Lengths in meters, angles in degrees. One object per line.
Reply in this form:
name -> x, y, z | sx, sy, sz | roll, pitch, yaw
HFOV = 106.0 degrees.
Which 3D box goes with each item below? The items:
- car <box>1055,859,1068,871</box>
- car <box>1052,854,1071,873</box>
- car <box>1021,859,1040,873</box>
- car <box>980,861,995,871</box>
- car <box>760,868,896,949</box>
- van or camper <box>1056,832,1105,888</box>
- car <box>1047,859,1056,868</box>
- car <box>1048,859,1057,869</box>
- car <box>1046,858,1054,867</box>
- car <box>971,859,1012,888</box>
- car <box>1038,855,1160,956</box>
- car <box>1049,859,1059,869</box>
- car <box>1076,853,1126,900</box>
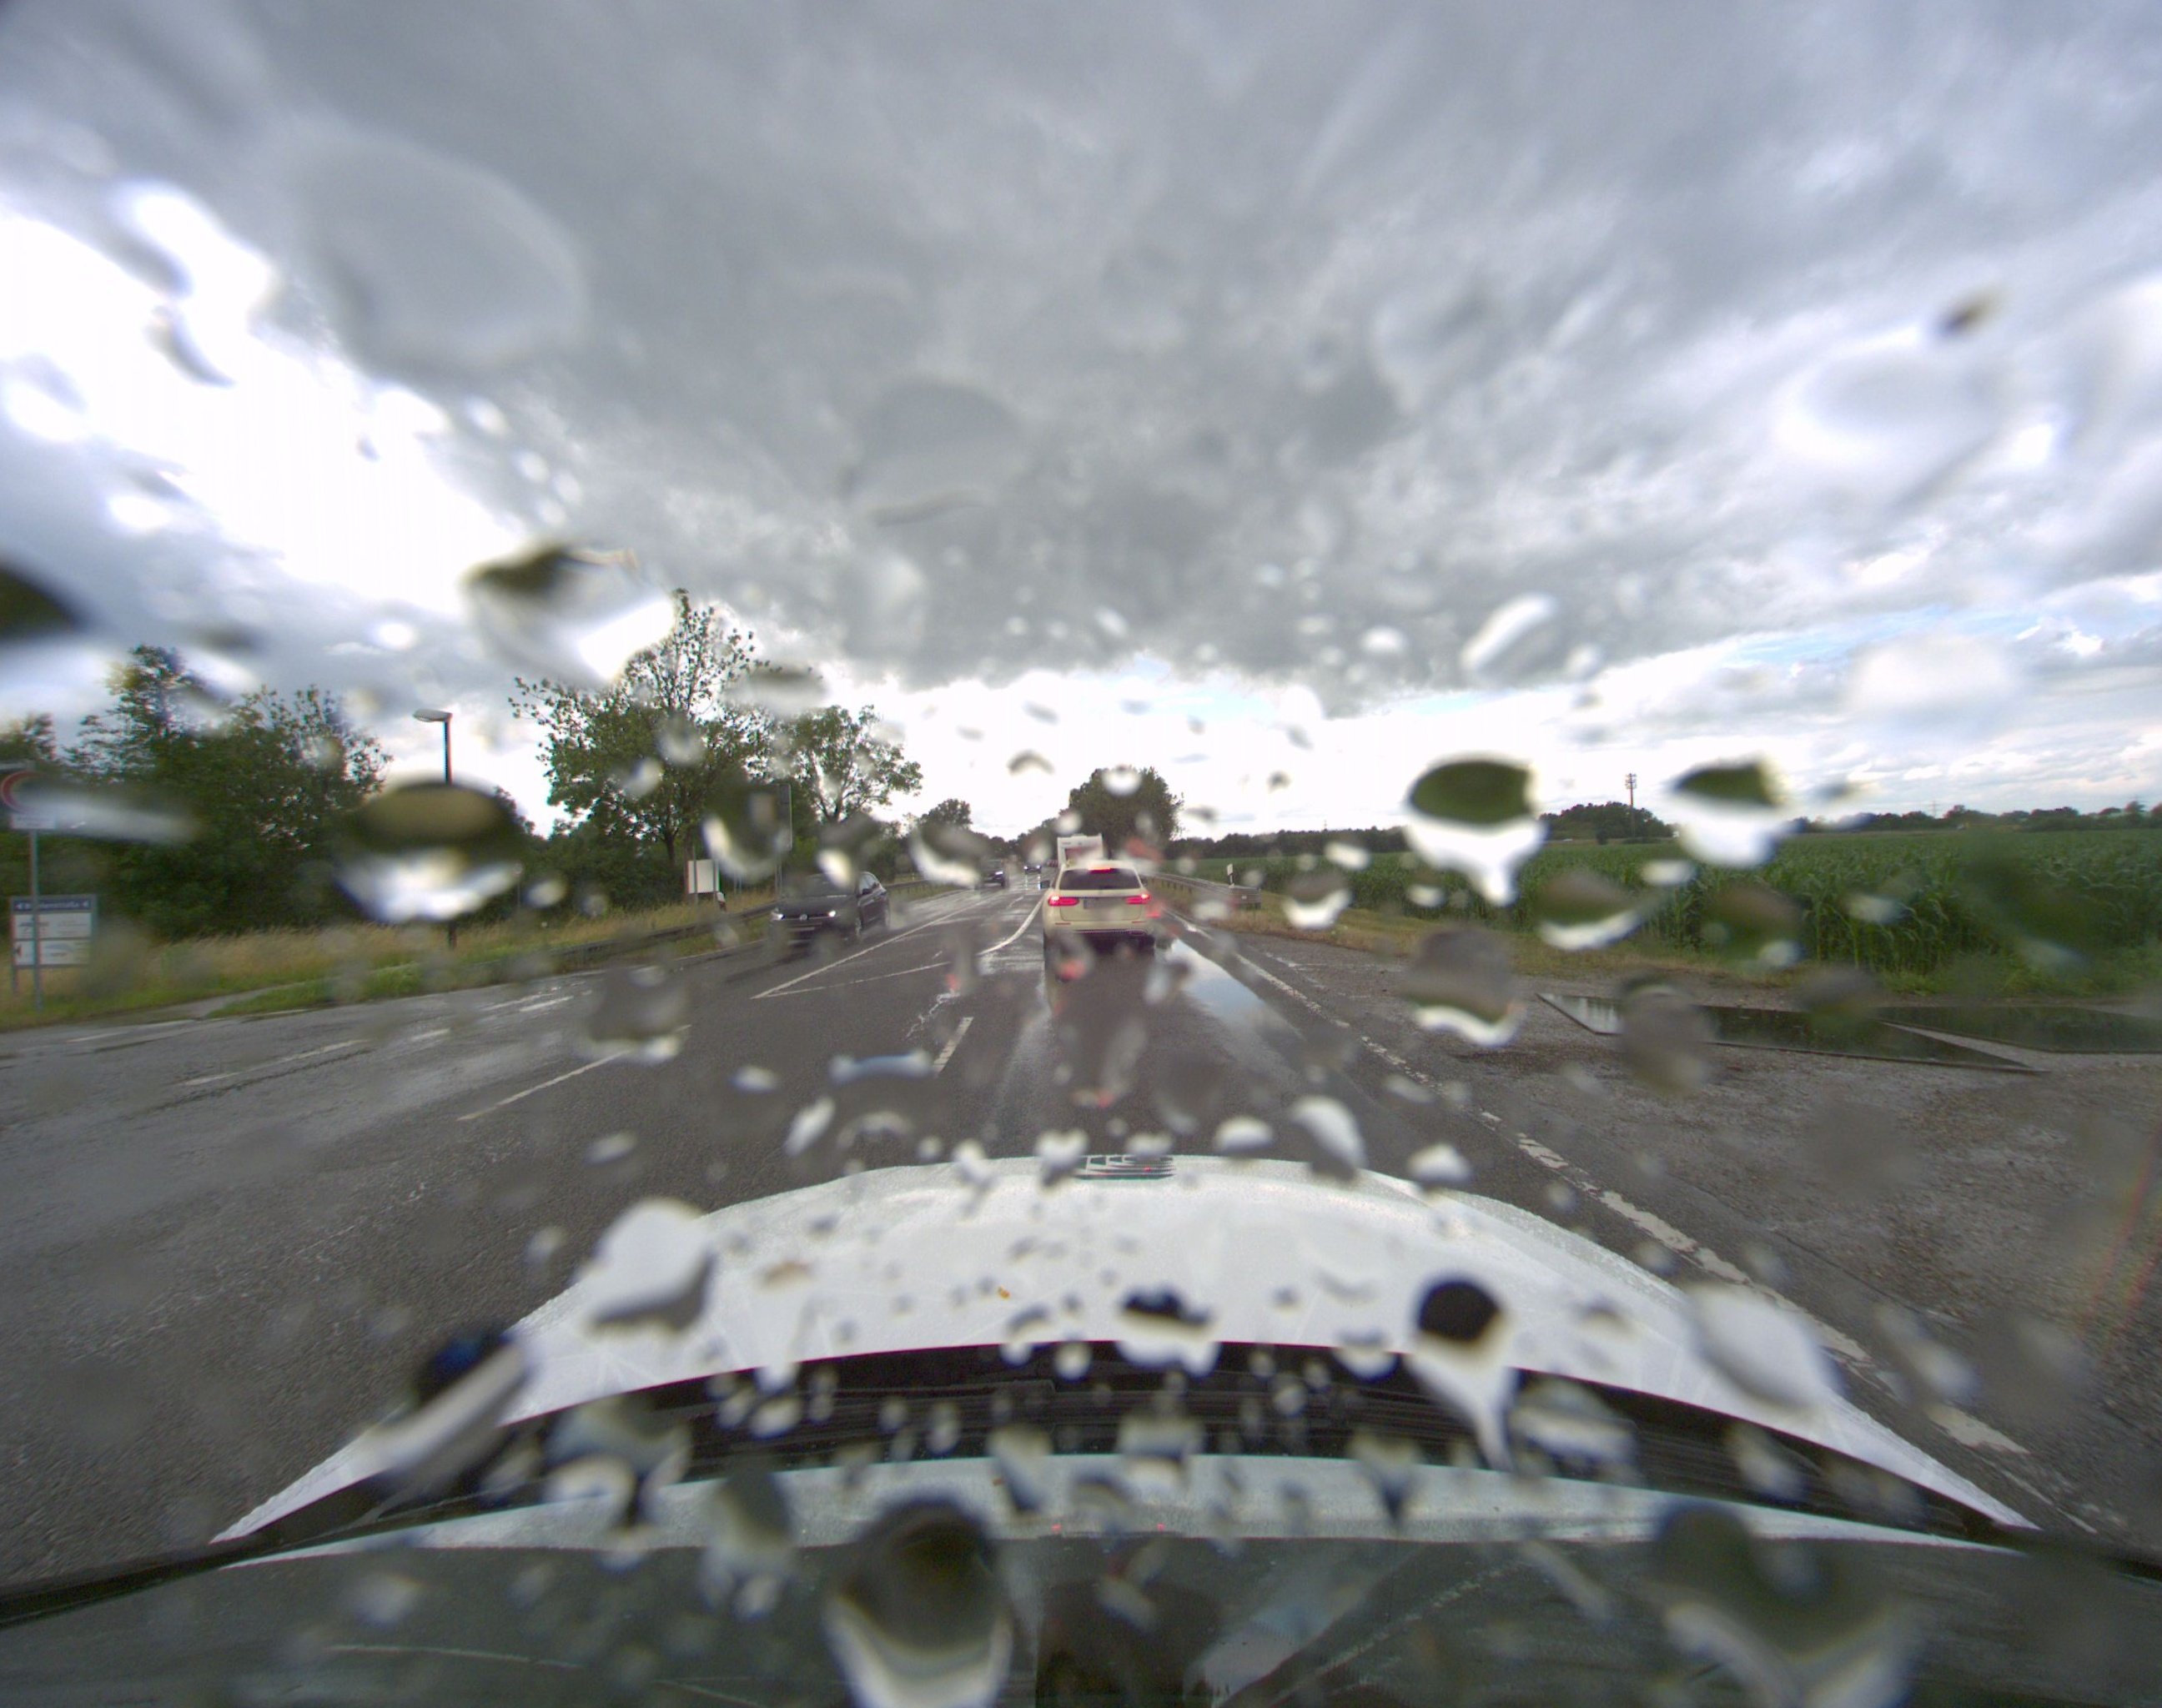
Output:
car -> -3.477, 1.854, 142.626 | 1.991, 2.014, 3.992 | -2, 0, -5
car -> -2.340, 1.138, 99.832 | 2.240, 2.199, 5.410 | -2, 0, -1
car -> -5.748, 1.376, 93.658 | 1.763, 1.523, 4.141 | -4, 0, 0
car -> -15.956, 2.027, 138.521 | 1.987, 1.651, 4.000 | -2, 0, 1
car -> -5.288, 1.078, 17.527 | 1.707, 1.405, 3.812 | -3, 0, -1
van or camper -> -0.024, 0.282, 43.184 | 2.343, 2.680, 5.767 | -2, 0, 0
car -> -6.922, 2.138, 190.854 | 1.989, 2.051, 3.996 | -2, 0, -2
car -> -6.521, 2.218, 184.033 | 1.989, 2.014, 3.996 | -2, 0, -3
car -> -7.637, 2.122, 201.717 | 1.989, 2.014, 3.996 | -2, 0, -3
car -> -5.609, 1.182, 51.539 | 1.937, 1.580, 4.443 | -4, 0, 0
car -> 0.301, 0.794, 14.424 | 1.819, 1.485, 4.145 | -1, 0, 1
car -> -5.695, 2.125, 170.799 | 1.990, 2.014, 3.993 | -2, 0, -5
car -> 0.667, 0.775, 29.468 | 1.622, 1.529, 3.931 | -2, 0, 0
